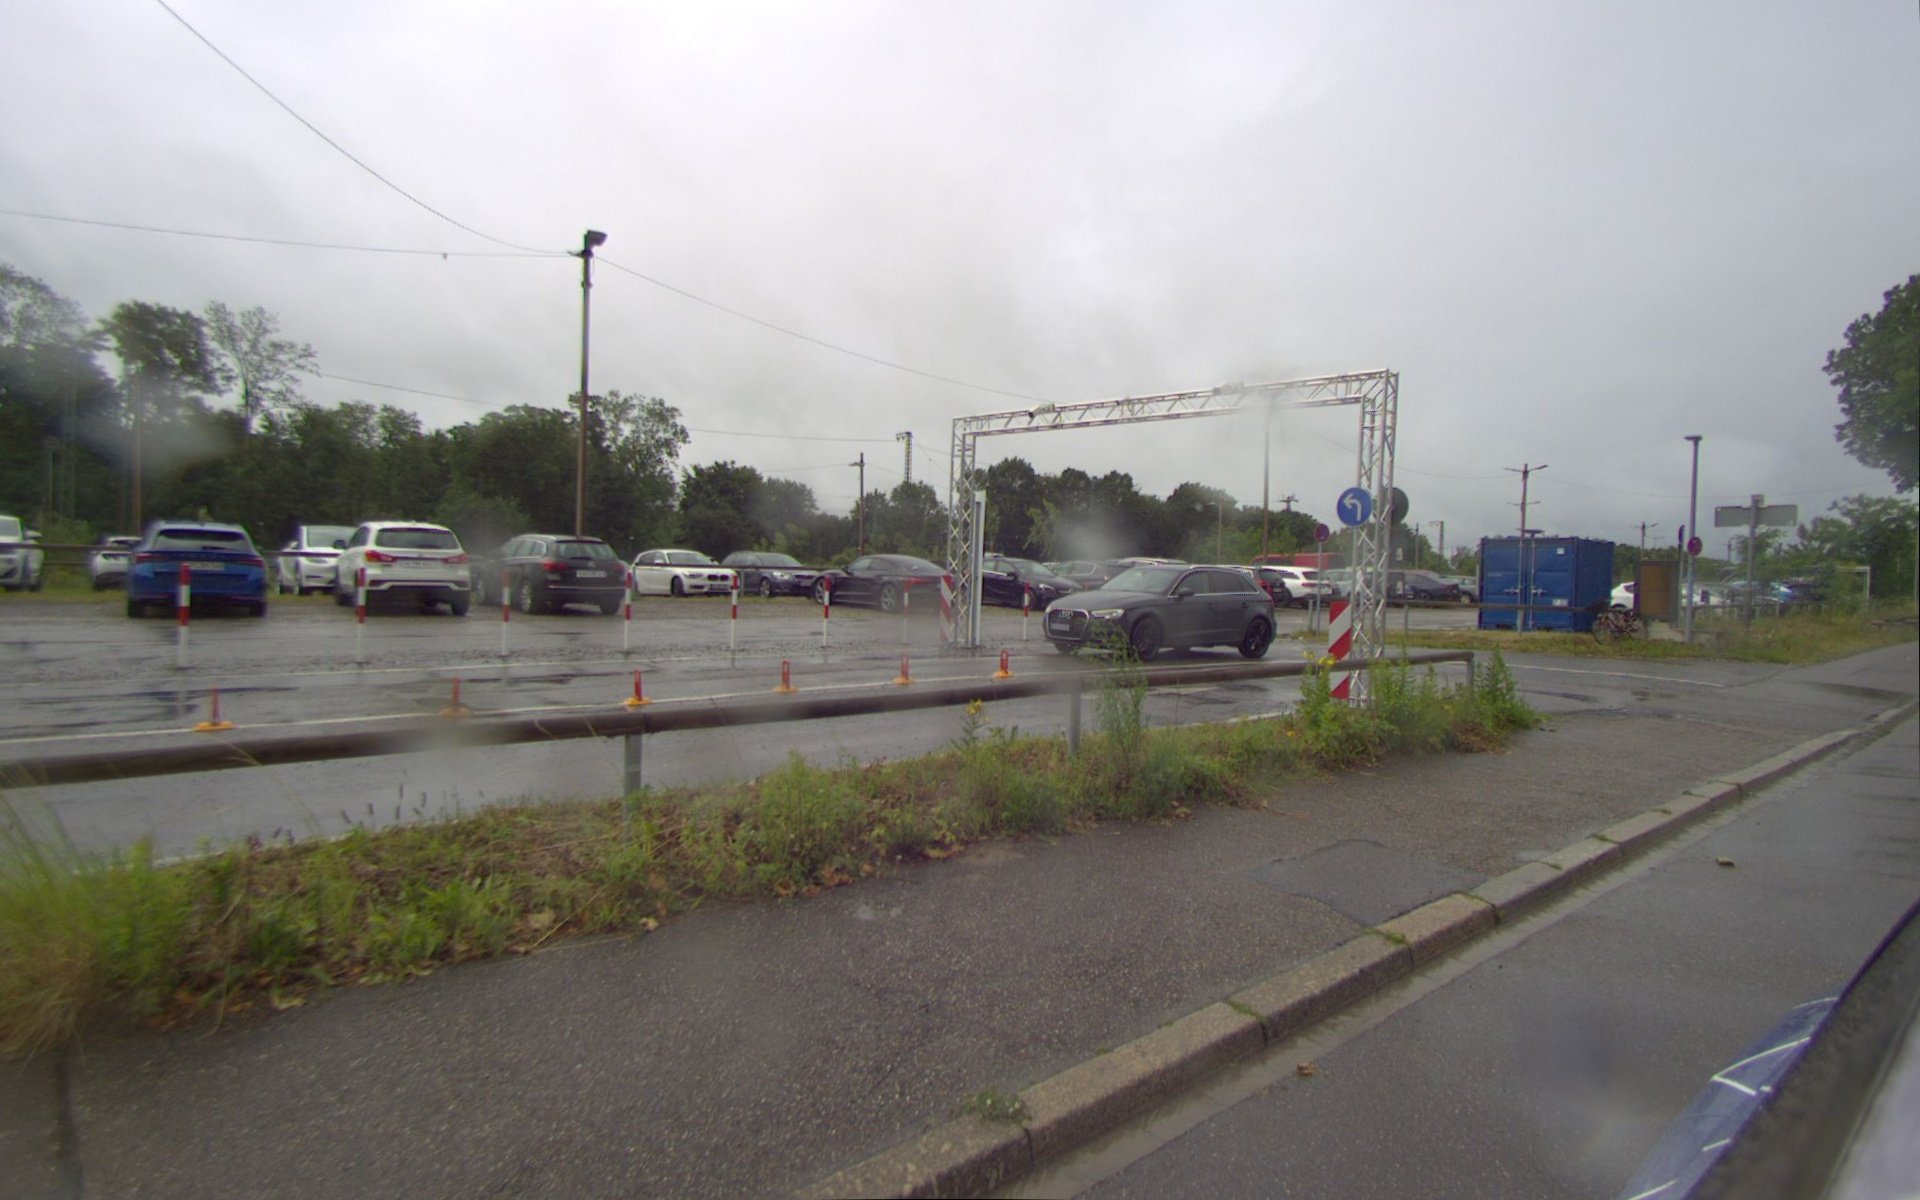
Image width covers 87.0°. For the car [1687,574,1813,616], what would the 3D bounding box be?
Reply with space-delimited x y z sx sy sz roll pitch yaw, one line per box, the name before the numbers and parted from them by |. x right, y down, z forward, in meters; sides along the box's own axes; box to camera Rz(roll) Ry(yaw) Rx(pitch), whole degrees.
car | 33.008 -0.247 42.329 1.865 1.614 3.901 -1 2 -42

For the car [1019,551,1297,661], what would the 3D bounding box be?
car | 3.141 0.063 15.765 4.147 1.474 1.901 1 2 -36

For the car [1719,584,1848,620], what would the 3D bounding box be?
car | 35.852 0.054 44.120 1.832 1.437 4.165 -1 2 -42

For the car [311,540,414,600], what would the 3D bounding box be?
car | -19.124 -0.983 32.306 1.987 1.742 4.325 0 3 -42

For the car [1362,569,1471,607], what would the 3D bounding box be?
car | 20.161 -0.554 44.783 1.852 1.444 3.965 -1 4 -38

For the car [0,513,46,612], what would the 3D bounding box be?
car | -18.089 -0.755 18.412 1.892 1.624 4.072 -1 5 -39

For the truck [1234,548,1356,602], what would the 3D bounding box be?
truck | 16.265 -1.252 49.371 2.115 2.397 5.301 1 3 -40

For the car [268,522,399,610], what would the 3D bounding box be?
car | -13.864 -0.818 22.309 1.801 1.679 4.069 -1 5 -41

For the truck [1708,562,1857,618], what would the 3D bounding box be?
truck | 37.609 -0.490 46.382 2.074 2.432 5.040 0 1 -42

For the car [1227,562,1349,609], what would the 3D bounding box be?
car | 12.058 -0.586 37.379 1.745 1.507 3.965 -1 4 -38

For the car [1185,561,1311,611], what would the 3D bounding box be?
car | 10.031 -0.539 35.445 1.745 1.507 3.965 -1 4 -38

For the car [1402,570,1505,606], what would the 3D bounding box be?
car | 23.611 -0.609 48.530 1.852 1.444 3.965 -1 4 -38

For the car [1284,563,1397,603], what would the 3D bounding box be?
car | 15.747 -0.735 42.034 1.852 1.444 3.965 -1 4 -38

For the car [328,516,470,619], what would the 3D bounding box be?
car | -10.330 -0.669 18.498 1.753 1.602 3.917 -1 5 -37

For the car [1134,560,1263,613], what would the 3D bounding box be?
car | 7.893 -0.492 33.772 1.745 1.507 3.965 -1 4 -38

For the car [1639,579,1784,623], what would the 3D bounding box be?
car | 27.035 0.002 36.495 1.873 1.440 3.901 -1 2 -42

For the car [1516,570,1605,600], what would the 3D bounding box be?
car | 34.313 -0.900 57.906 1.808 1.466 4.000 -1 4 -38

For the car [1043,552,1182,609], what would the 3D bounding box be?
car | 4.551 -0.632 30.613 1.836 1.507 3.965 -1 4 -38

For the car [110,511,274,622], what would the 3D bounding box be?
car | -12.346 -0.619 16.357 1.892 1.501 4.059 -1 5 -37

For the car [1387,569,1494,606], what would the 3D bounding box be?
car | 22.034 -0.596 46.518 1.852 1.444 3.965 -1 4 -38

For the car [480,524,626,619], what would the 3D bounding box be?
car | -8.132 -0.628 20.034 1.753 1.602 3.788 -1 5 -37

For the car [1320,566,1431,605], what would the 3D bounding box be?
car | 17.744 -0.668 43.388 1.852 1.444 3.965 -1 4 -38

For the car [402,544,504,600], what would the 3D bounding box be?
car | -17.235 -0.977 34.292 1.987 1.742 4.325 0 3 -42

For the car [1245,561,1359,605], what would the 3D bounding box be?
car | 13.525 -0.702 40.236 1.745 1.507 3.965 -1 4 -38

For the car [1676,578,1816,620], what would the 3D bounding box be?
car | 29.230 -0.083 37.710 1.749 1.440 3.901 -1 2 -42

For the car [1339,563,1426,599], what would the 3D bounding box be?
car | 22.892 -1.059 54.900 1.763 1.822 4.000 0 2 -36

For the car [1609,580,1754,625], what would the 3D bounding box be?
car | 24.909 0.055 35.009 1.873 1.410 3.777 -1 2 -42

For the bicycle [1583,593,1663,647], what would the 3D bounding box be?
bicycle | 14.371 0.434 21.931 1.667 1.097 0.510 1 2 -19

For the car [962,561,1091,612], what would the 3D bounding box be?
car | 1.842 -0.440 29.220 1.616 1.235 3.903 -1 4 -35

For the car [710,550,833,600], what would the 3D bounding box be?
car | -5.576 -0.756 29.654 1.725 1.348 3.993 0 2 -42

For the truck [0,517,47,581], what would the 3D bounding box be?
truck | -34.605 -1.816 34.422 4.987 2.164 2.080 1 2 -36

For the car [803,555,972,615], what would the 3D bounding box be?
car | -1.939 -0.446 25.836 1.944 1.235 4.598 -1 4 -41

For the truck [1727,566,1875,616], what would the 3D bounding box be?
truck | 41.615 -0.506 50.217 2.038 2.352 5.341 0 1 -40

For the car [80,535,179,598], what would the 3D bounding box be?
car | -23.253 -0.962 28.315 1.985 1.608 4.327 1 2 -40

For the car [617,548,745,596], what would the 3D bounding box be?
car | -7.775 -0.817 27.990 1.801 1.084 4.069 -1 5 -41

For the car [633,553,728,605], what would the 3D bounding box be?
car | -10.973 -0.857 39.636 1.966 1.853 3.993 0 3 -43

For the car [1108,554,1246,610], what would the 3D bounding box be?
car | 6.746 -0.618 31.826 1.836 1.507 3.965 -1 4 -38

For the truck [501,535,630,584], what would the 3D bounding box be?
truck | -18.295 -1.870 47.036 5.183 2.038 2.087 1 2 -39

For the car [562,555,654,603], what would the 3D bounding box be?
car | -13.397 -0.825 38.386 1.782 1.665 4.194 0 3 -43
